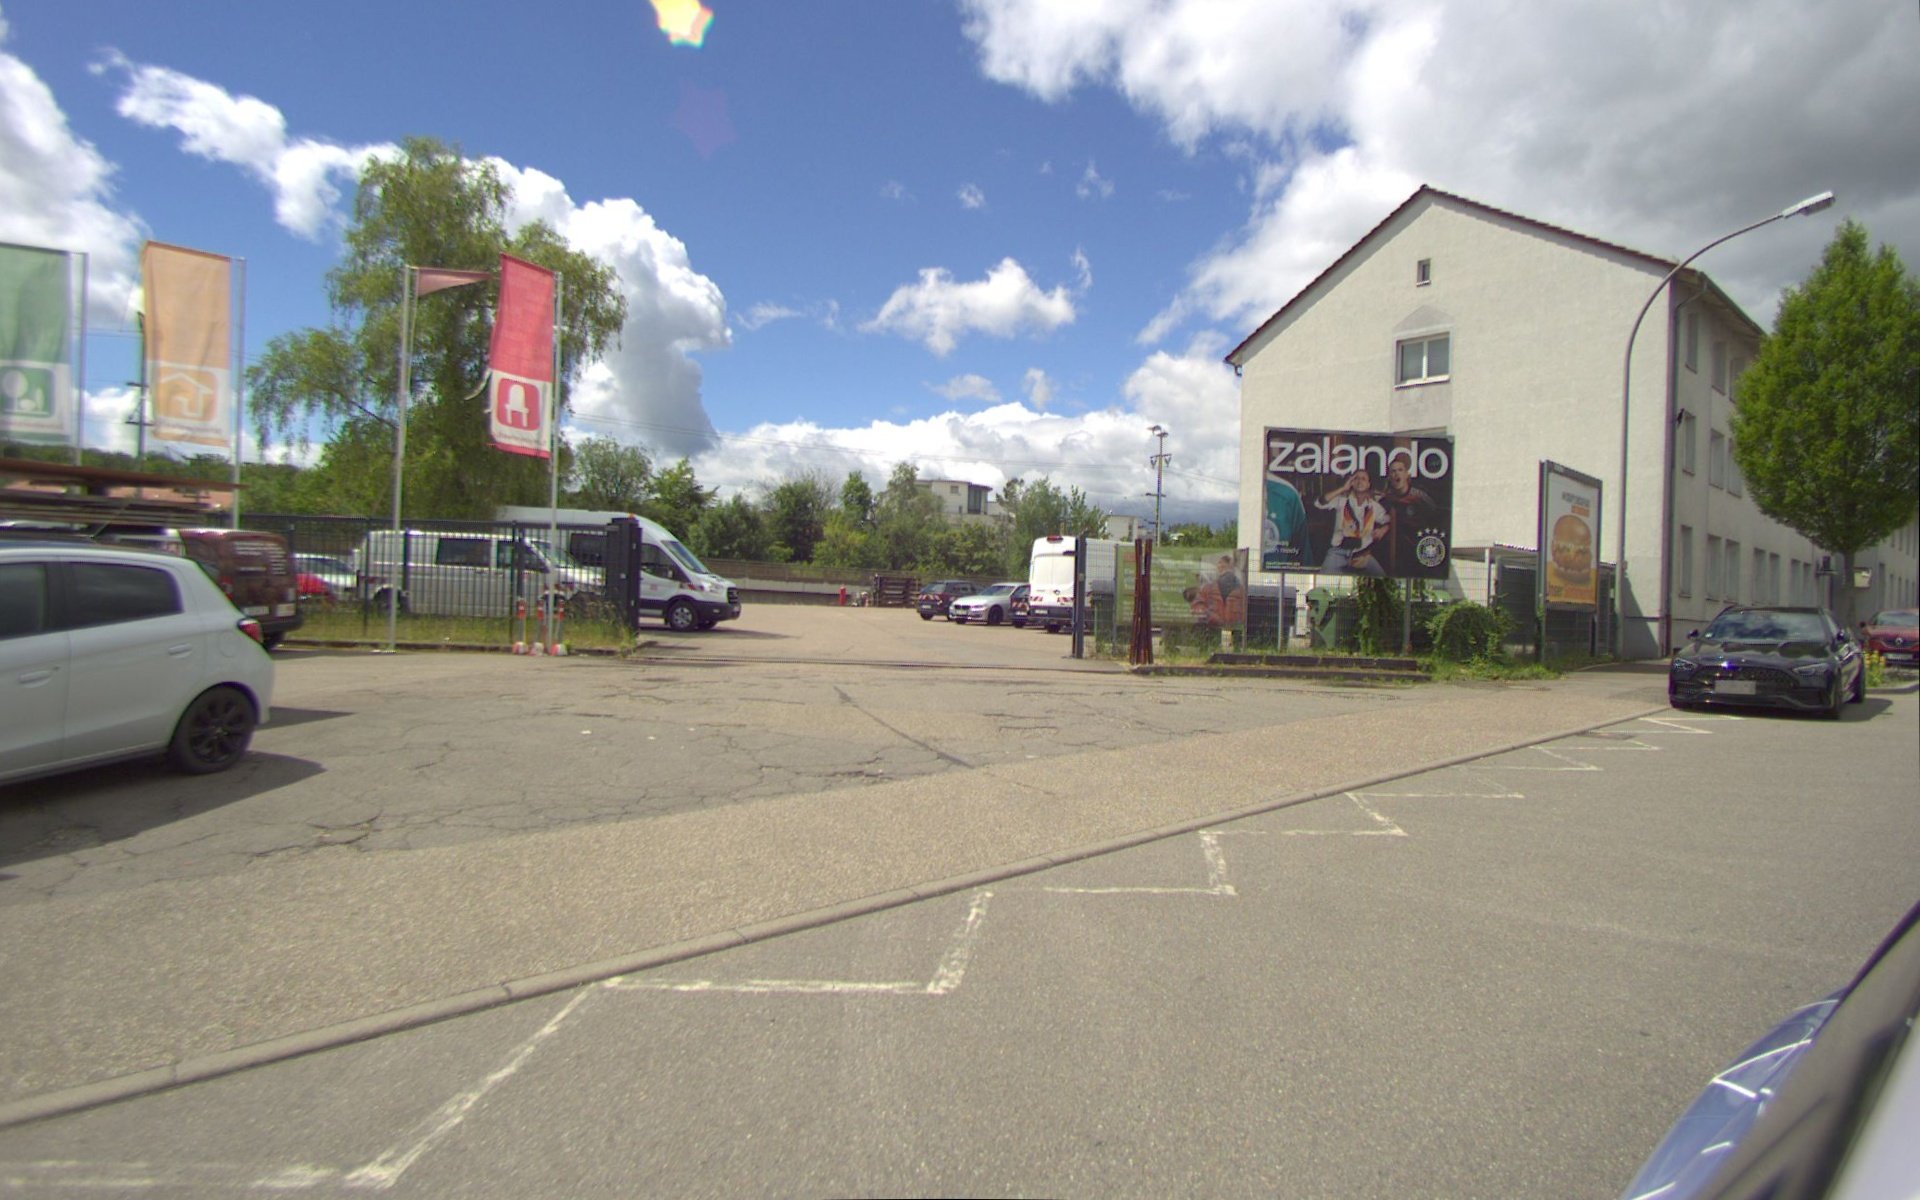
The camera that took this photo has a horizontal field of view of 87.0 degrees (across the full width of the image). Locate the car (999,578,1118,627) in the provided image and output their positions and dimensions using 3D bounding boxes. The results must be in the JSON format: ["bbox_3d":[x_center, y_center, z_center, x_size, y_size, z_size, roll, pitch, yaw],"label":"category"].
[{"bbox_3d":[3.171,0.023,32.215,3.802,1.407,1.628,-2,2,-41],"label":"car"}]

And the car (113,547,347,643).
[{"bbox_3d":[-15.121,-0.133,21.073,3.760,1.808,1.590,2,2,2],"label":"car"}]

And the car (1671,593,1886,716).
[{"bbox_3d":[12.035,0.661,14.757,4.628,1.484,1.793,0,1,-43],"label":"car"}]

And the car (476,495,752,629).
[{"bbox_3d":[-8.162,-0.916,24.206,5.864,2.879,2.066,2,2,2],"label":"car"}]

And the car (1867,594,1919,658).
[{"bbox_3d":[23.959,0.639,25.056,4.186,1.491,1.738,1,0,-41],"label":"car"}]

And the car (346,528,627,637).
[{"bbox_3d":[-9.755,-0.378,21.084,5.003,2.006,1.835,2,2,2],"label":"car"}]

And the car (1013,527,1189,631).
[{"bbox_3d":[4.267,-0.674,29.956,5.364,2.802,2.279,-2,2,-42],"label":"car"}]

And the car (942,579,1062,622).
[{"bbox_3d":[1.448,-0.021,34.058,3.931,1.303,1.750,-2,2,-41],"label":"car"}]

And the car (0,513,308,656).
[{"bbox_3d":[-12.195,-0.249,14.920,3.963,1.894,1.819,1,2,-2],"label":"car"}]

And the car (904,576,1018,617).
[{"bbox_3d":[0.082,-0.167,36.617,3.931,1.380,1.811,-2,2,-41],"label":"car"}]

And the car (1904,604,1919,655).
[{"bbox_3d":[29.051,0.877,29.613,4.777,1.442,1.737,1,-1,-42],"label":"car"}]

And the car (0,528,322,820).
[{"bbox_3d":[-5.850,0.362,5.529,1.698,1.480,4.065,4,3,10],"label":"car"}]
